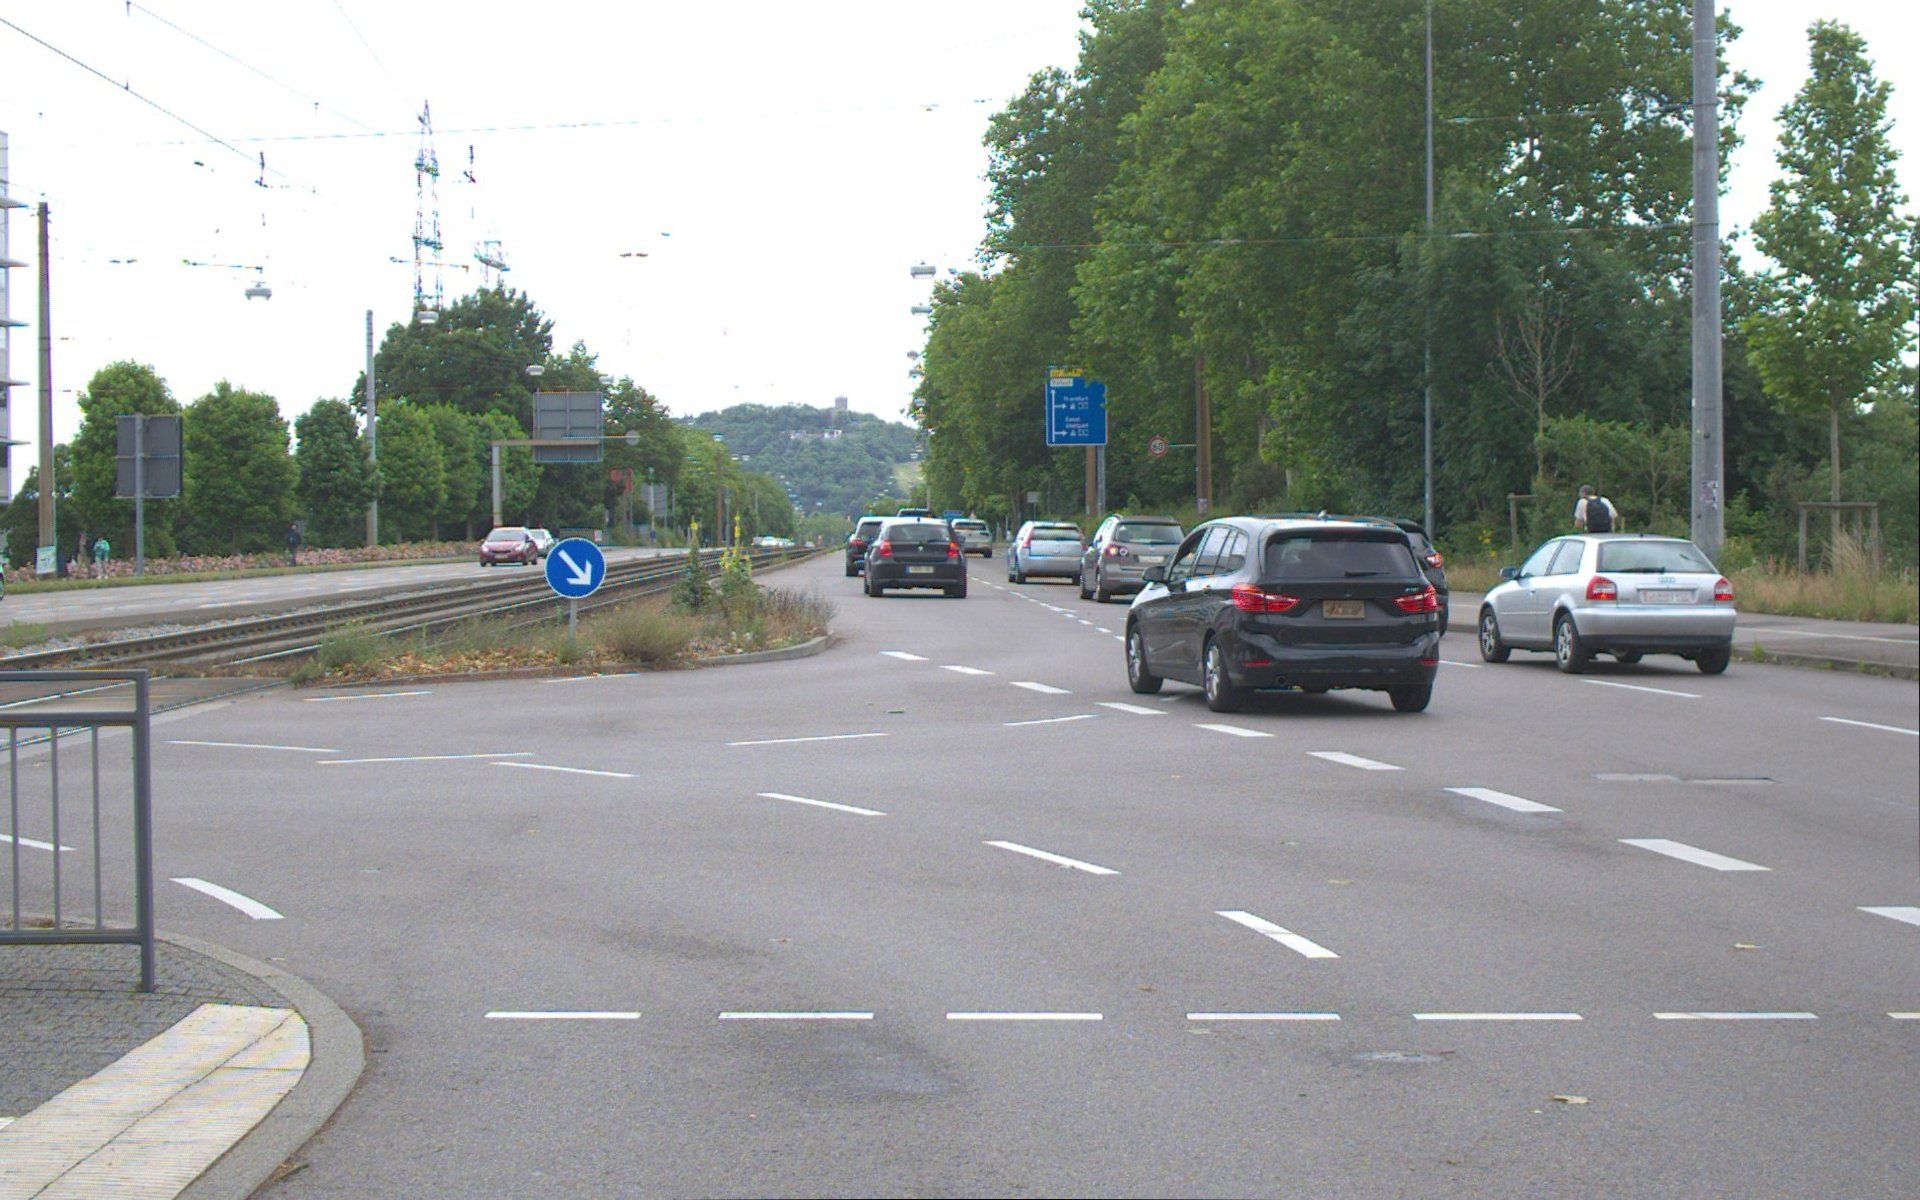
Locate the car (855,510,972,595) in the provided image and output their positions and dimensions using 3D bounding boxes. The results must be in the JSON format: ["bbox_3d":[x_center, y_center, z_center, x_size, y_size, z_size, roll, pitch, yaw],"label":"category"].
[{"bbox_3d":[-0.857,-0.870,61.664,1.746,1.426,3.376,1,2,-7],"label":"car"}]

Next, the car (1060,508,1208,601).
[{"bbox_3d":[3.095,-0.826,61.928,1.856,1.556,4.318,2,1,-8],"label":"car"}]

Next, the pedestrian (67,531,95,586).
[{"bbox_3d":[-26.443,-1.245,103.444,0.613,1.648,0.544,1,0,-42],"label":"pedestrian"}]

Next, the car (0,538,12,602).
[{"bbox_3d":[-24.206,-0.733,82.402,1.728,1.533,4.046,1,1,1],"label":"car"}]

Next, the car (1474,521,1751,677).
[{"bbox_3d":[6.760,-0.051,35.983,1.727,1.504,3.634,1,2,-8],"label":"car"}]

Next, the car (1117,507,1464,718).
[{"bbox_3d":[2.676,0.051,28.865,1.831,1.631,4.318,0,1,-10],"label":"car"}]

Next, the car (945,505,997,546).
[{"bbox_3d":[0.410,-2.818,130.579,1.815,1.475,3.672,1,0,-2],"label":"car"}]

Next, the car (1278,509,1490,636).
[{"bbox_3d":[5.619,-0.382,46.052,1.856,1.556,4.318,2,1,-6],"label":"car"}]

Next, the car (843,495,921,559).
[{"bbox_3d":[-1.933,-1.770,84.065,1.815,1.475,3.672,1,0,-2],"label":"car"}]

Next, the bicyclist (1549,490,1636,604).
[{"bbox_3d":[8.484,-0.718,46.153,0.816,1.473,1.000,-2,3,-11],"label":"bicyclist"}]

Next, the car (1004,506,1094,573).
[{"bbox_3d":[2.020,-1.370,79.266,1.815,1.475,3.672,1,0,-2],"label":"car"}]

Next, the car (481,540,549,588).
[{"bbox_3d":[-16.760,-1.371,129.730,1.993,1.722,4.000,1,1,0],"label":"car"}]
